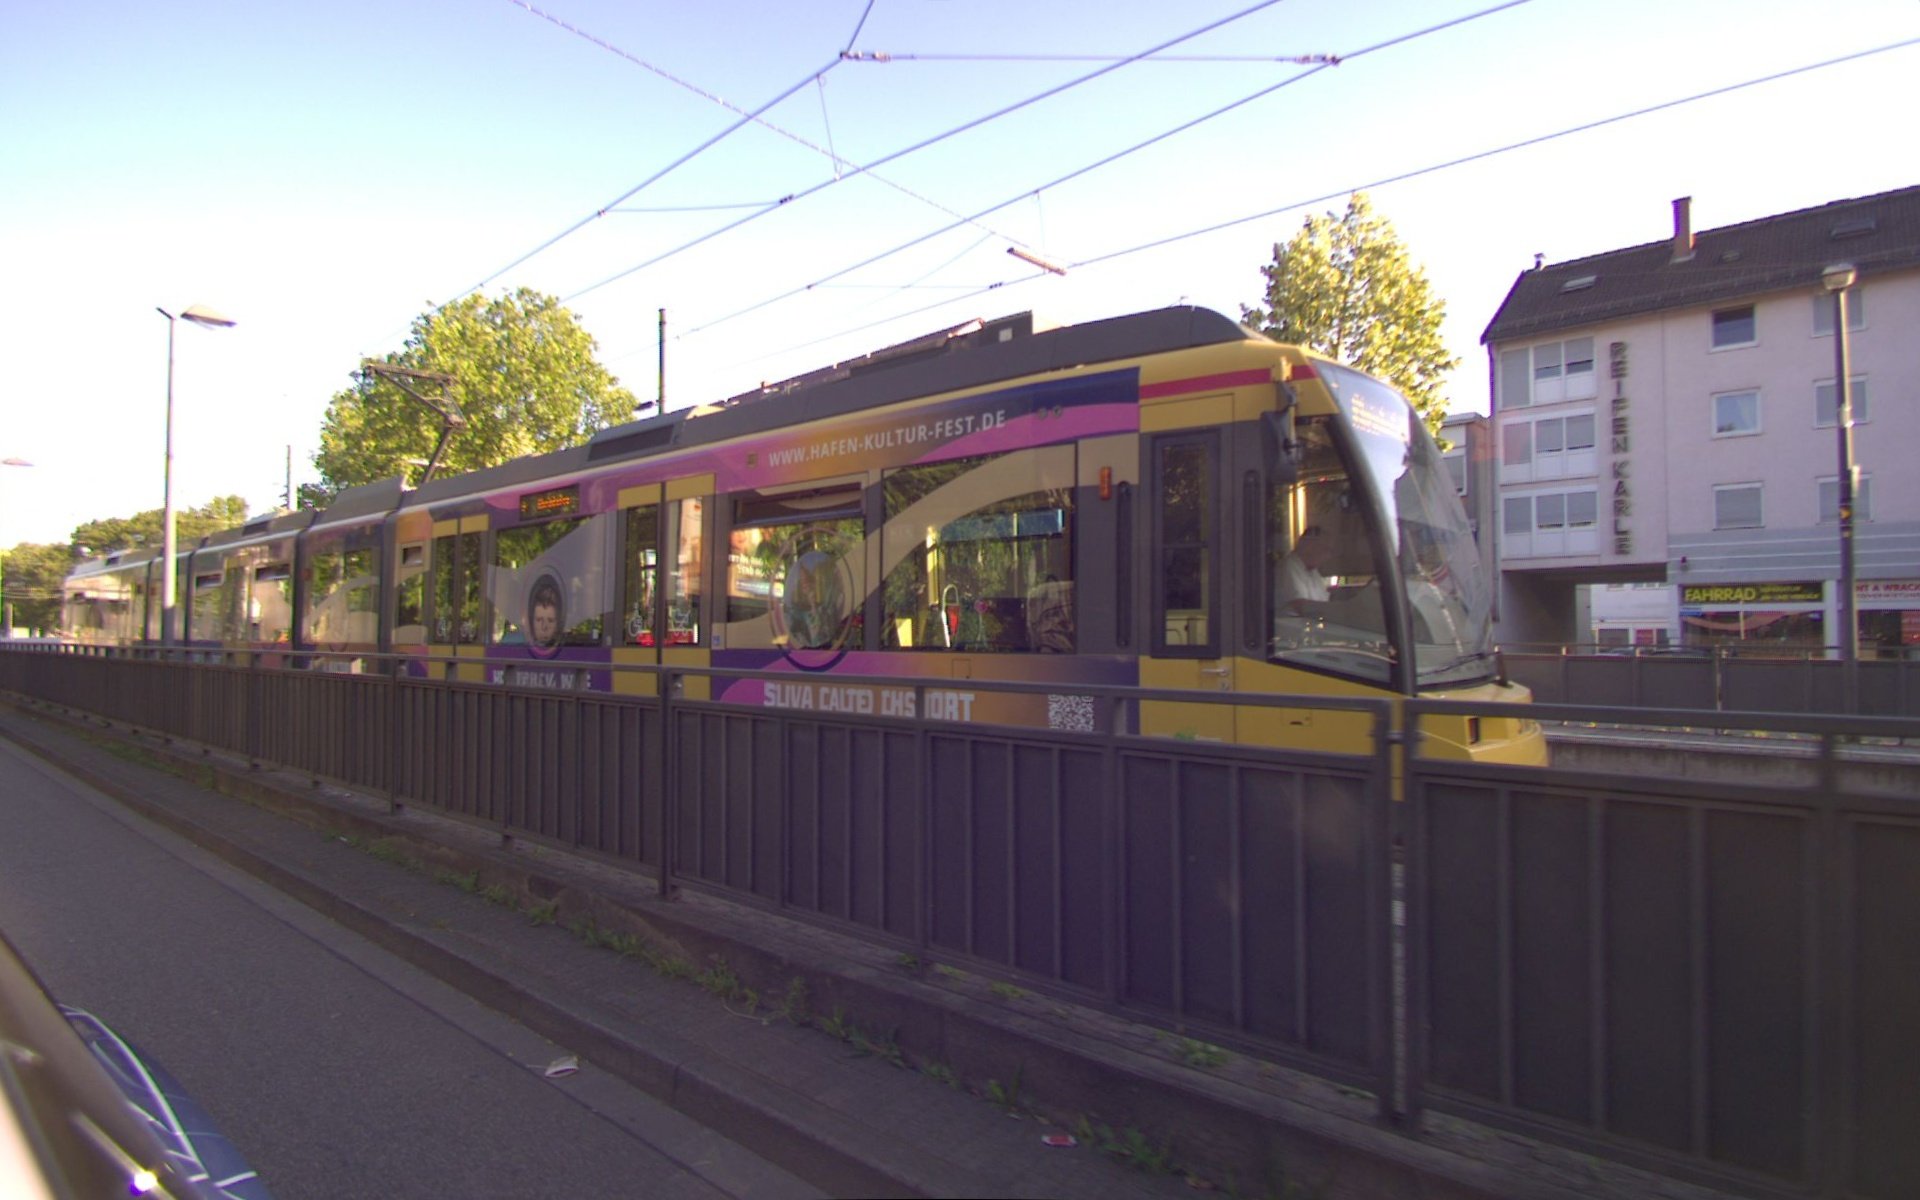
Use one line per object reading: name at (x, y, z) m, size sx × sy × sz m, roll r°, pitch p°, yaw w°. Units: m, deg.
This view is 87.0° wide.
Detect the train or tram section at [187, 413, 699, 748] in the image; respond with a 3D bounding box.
train or tram section at (-8.222, -0.086, 15.116) m, size 10.088 × 3.544 × 3.005 m, roll -1°, pitch -3°, yaw 40°

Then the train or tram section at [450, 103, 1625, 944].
train or tram section at (-0.516, -0.221, 8.647) m, size 10.088 × 3.544 × 3.005 m, roll -1°, pitch -3°, yaw 40°

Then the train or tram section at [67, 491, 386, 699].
train or tram section at (-15.972, 0.041, 21.605) m, size 10.088 × 3.544 × 3.005 m, roll -1°, pitch -3°, yaw 40°

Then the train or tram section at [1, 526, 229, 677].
train or tram section at (-23.696, 0.173, 28.110) m, size 10.088 × 3.544 × 3.005 m, roll -1°, pitch -3°, yaw 40°

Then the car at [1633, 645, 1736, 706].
car at (20.292, 2.061, 28.292) m, size 1.818 × 1.535 × 3.752 m, roll -2°, pitch -3°, yaw 43°
